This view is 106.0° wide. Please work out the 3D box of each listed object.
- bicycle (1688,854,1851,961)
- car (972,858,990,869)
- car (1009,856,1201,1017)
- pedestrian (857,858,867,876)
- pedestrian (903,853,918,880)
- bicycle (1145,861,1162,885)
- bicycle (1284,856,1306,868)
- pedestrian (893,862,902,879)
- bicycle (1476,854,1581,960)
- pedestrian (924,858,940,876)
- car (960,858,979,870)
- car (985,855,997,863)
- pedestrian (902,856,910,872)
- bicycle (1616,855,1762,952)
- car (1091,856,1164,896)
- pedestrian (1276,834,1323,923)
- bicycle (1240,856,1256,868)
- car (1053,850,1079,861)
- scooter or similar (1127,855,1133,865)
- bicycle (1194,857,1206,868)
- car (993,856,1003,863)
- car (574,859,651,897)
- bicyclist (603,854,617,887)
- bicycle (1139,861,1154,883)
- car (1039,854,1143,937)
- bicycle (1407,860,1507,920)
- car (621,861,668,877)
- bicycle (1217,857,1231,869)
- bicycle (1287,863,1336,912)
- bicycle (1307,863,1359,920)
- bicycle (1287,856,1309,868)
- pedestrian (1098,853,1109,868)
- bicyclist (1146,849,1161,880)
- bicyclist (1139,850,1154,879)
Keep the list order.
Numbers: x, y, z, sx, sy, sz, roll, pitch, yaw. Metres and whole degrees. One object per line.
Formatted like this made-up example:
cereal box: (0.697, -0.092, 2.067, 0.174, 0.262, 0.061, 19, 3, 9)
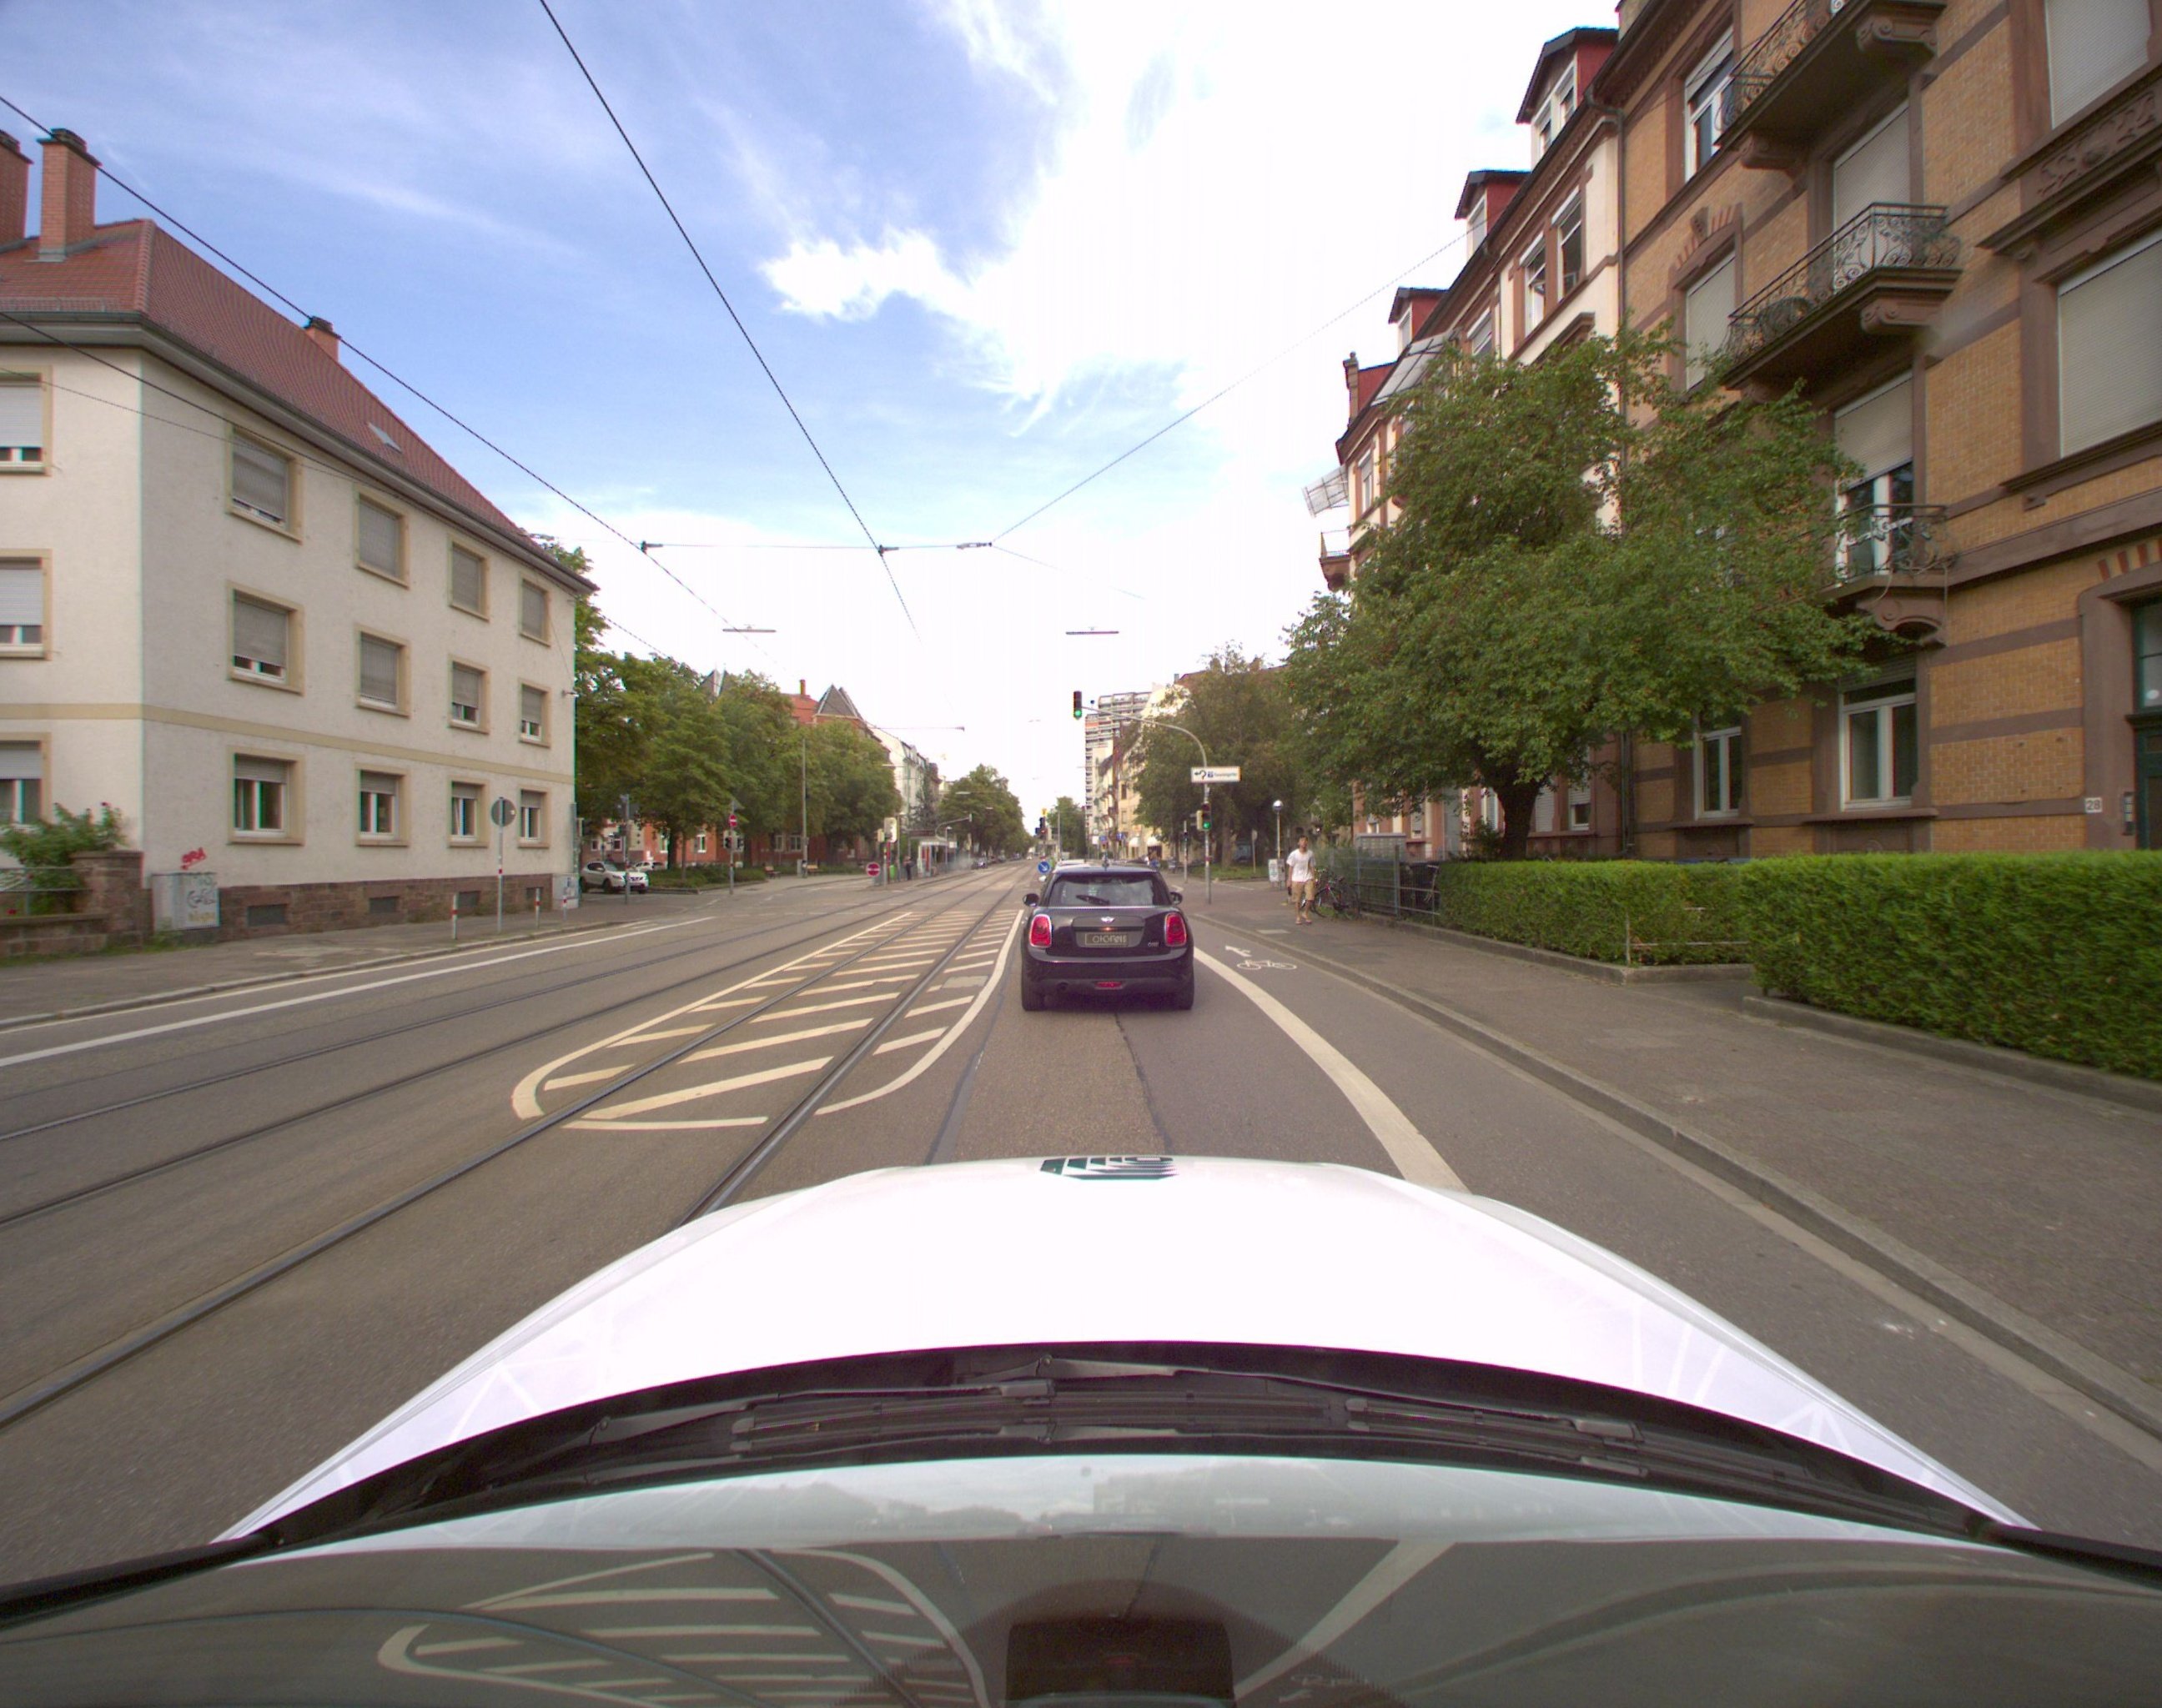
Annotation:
bicycle: (8.077, 0.608, 9.575, 1.542, 1.181, 0.517, -1, 0, -5)
car: (-12.845, 1.195, 104.692, 1.746, 1.441, 3.999, 1, 0, -1)
car: (0.264, 0.762, 9.494, 1.745, 1.441, 4.001, -1, 0, 1)
pedestrian: (-21.450, 1.296, 79.814, 0.832, 1.703, 0.731, -1, 0, -8)
pedestrian: (-10.645, 0.777, 50.923, 0.851, 1.621, 0.841, -1, 0, -8)
bicycle: (3.661, 0.960, 41.236, 0.597, 1.170, 1.695, -1, 0, -2)
bicycle: (19.658, 0.735, 74.964, 1.888, 1.128, 0.561, -1, 0, -11)
pedestrian: (-19.020, 1.684, 84.426, 0.832, 1.703, 0.731, -1, 0, -8)
bicycle: (5.872, 0.654, 10.779, 0.514, 1.282, 1.550, -1, 0, 0)
pedestrian: (-10.777, 0.945, 58.893, 1.058, 1.294, 0.983, -1, 0, -8)
car: (-13.025, 1.152, 95.159, 1.746, 1.441, 3.999, 1, 0, -1)
car: (-18.536, 1.095, 167.722, 1.988, 1.552, 3.997, -1, 0, -2)
pedestrian: (-19.168, 1.137, 89.137, 0.692, 1.719, 0.758, -1, 0, -1)
bicycle: (7.824, 0.614, 10.498, 1.542, 1.181, 0.517, -1, 0, -5)
car: (1.915, 0.814, 32.124, 1.737, 1.441, 4.501, -1, 0, 19)
pedestrian: (4.468, 0.492, 16.708, 0.727, 1.754, 0.950, -1, 0, 2)
bicycle: (16.271, 0.771, 79.209, 0.659, 1.128, 1.906, -1, 0, 40)
car: (-3.188, 0.363, 174.057, 5.067, 2.272, 2.368, -1, 0, -43)
scooter or similar: (6.206, 0.743, 103.086, 0.507, 1.188, 1.260, -1, 0, -2)
bicycle: (12.213, 0.864, 83.690, 0.444, 1.055, 1.659, -1, 0, 40)
car: (-19.462, 1.227, 190.653, 1.988, 1.552, 3.997, -1, 0, -2)
car: (-23.069, 1.183, 40.072, 4.105, 1.721, 1.852, -3, -3, 37)
bicyclist: (-25.745, 0.887, 44.494, 0.614, 1.775, 0.902, -1, 0, -30)
bicycle: (3.586, 0.973, 44.598, 0.682, 1.170, 1.696, -1, 0, 0)
car: (0.164, 0.773, 17.225, 1.921, 1.510, 3.999, -1, 0, -1)
bicycle: (6.669, 0.632, 14.467, 1.542, 1.008, 0.509, -1, 0, -5)
car: (-42.304, 1.440, 78.901, 3.953, 1.478, 1.825, -1, 0, 20)
bicycle: (14.250, 0.882, 81.126, 0.526, 1.128, 1.906, -1, 0, 40)
bicycle: (5.585, 0.795, 19.816, 0.669, 1.106, 1.671, -1, 0, -2)
bicycle: (5.260, 0.764, 17.078, 0.507, 1.088, 1.549, -4, 0, -2)
bicycle: (19.820, 0.731, 74.385, 1.888, 1.128, 0.596, -1, 0, -11)
pedestrian: (2.592, 0.711, 93.878, 0.723, 1.674, 0.840, -4, 0, 44)
bicyclist: (3.653, 0.514, 41.233, 0.593, 1.550, 1.013, -1, 0, -2)
bicyclist: (3.578, 0.572, 44.545, 0.682, 1.564, 0.998, -1, 0, 0)
